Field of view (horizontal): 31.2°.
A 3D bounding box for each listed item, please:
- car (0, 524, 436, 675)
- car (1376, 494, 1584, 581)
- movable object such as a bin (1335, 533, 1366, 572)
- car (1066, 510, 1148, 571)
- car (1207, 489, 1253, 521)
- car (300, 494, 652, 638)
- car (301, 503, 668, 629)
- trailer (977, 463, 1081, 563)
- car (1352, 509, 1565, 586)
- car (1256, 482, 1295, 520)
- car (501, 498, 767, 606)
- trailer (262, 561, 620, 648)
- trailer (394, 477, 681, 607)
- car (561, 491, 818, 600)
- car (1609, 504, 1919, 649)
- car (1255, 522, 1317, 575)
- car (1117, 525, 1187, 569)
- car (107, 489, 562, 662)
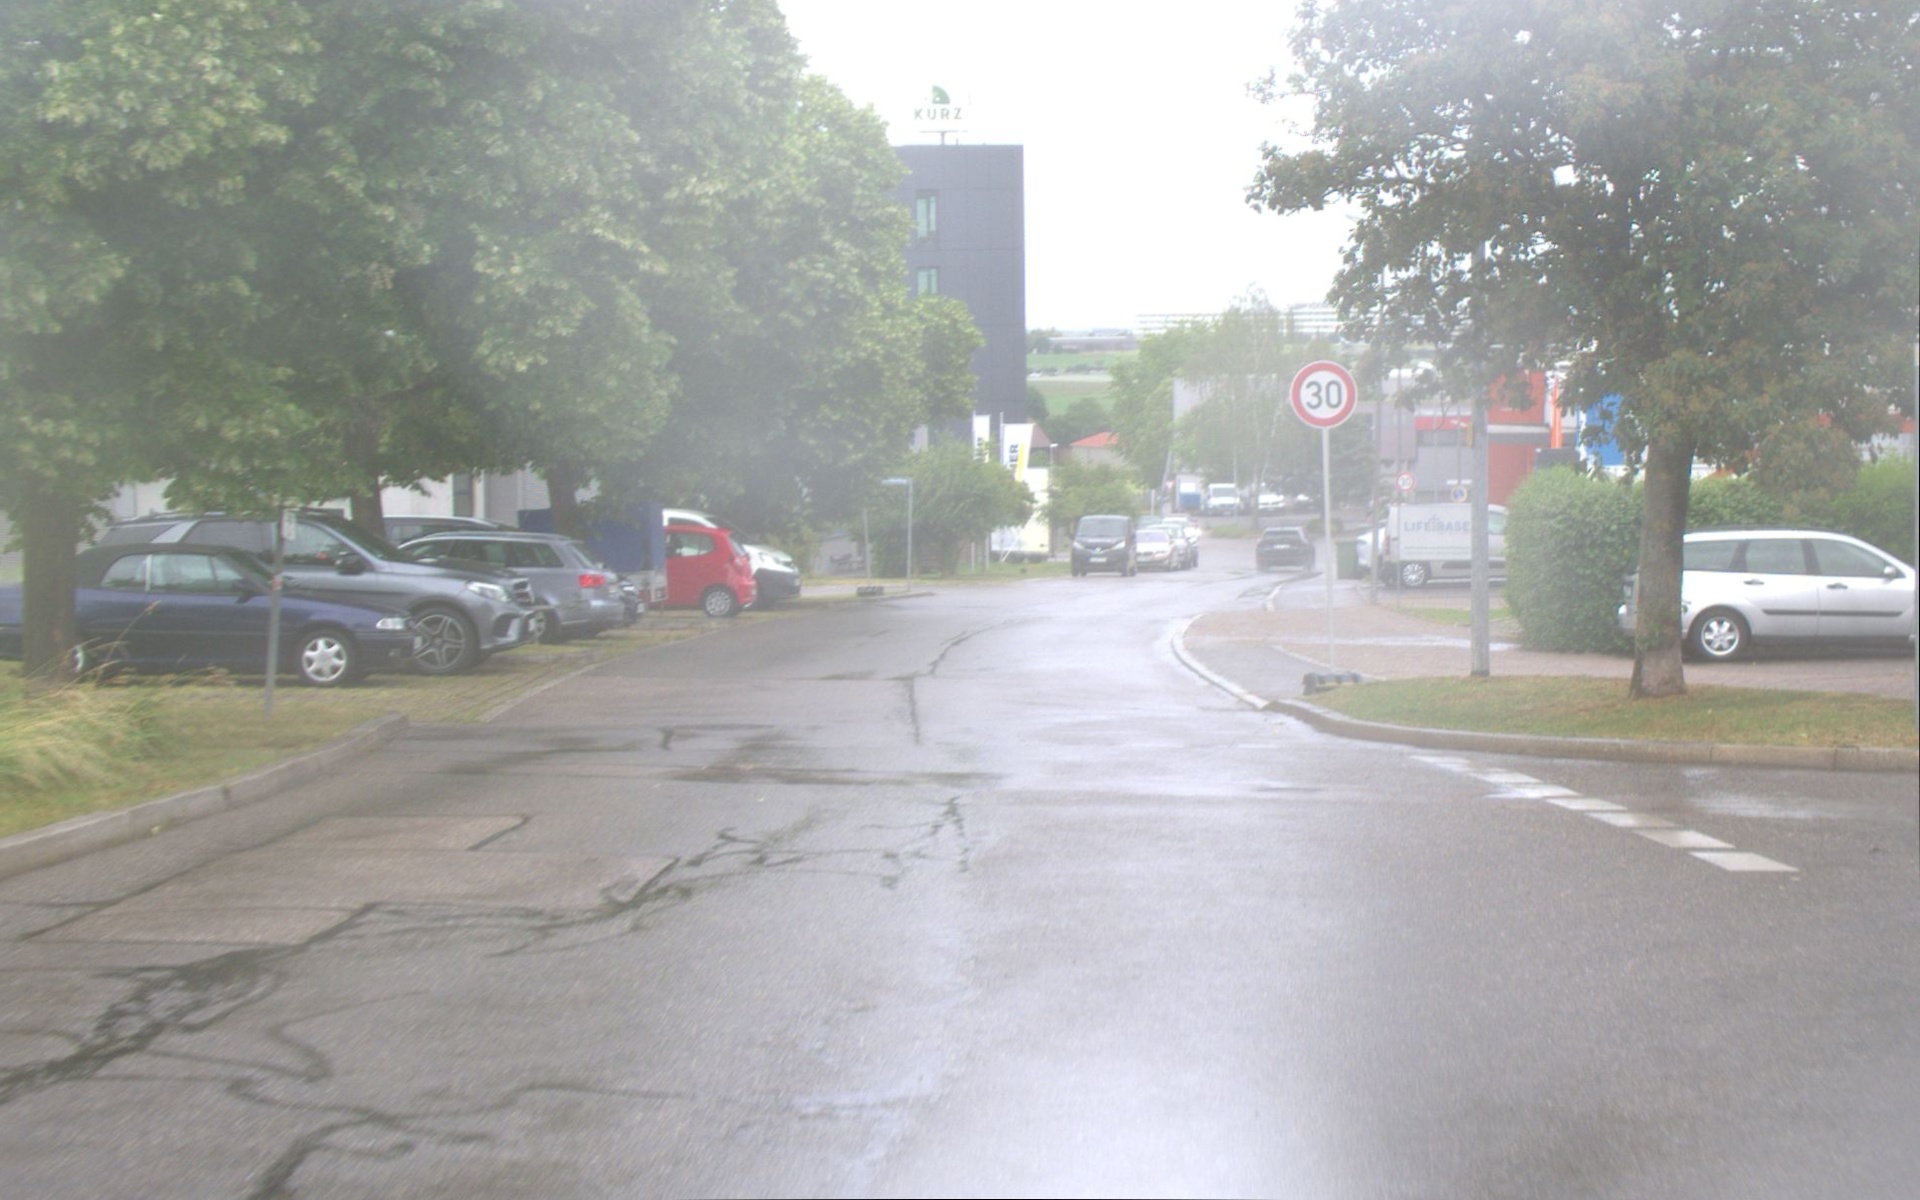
[{"bbox_3d":[-7.329,-0.014,33.568,4.212,1.426,1.774,0,1,-2],"label":"car"},{"bbox_3d":[11.169,-1.355,74.106,4.341,1.767,2.089,-1,1,7],"label":"car"},{"bbox_3d":[10.386,-1.258,91.321,0.772,1.026,0.808,0,1,10],"label":"movable object such as a bin"},{"bbox_3d":[4.476,-1.807,104.104,1.916,1.825,4.846,0,1,9],"label":"car"},{"bbox_3d":[18.081,-6.341,229.999,2.264,2.007,4.001,-1,1,-7],"label":"car"},{"bbox_3d":[-6.191,-0.447,44.253,4.075,1.716,2.025,1,1,7],"label":"car"},{"bbox_3d":[-6.439,-0.469,46.821,4.618,1.584,1.806,1,1,6],"label":"car"},{"bbox_3d":[2.938,-3.738,147.603,2.001,4.188,4.184,-2,1,-44],"label":"trailer"},{"bbox_3d":[11.180,-1.189,77.226,4.598,1.533,2.079,-2,1,8],"label":"car"},{"bbox_3d":[21.116,-6.585,230.003,2.192,2.451,4.000,-1,1,0],"label":"car"},{"bbox_3d":[-5.413,-0.801,57.391,4.196,1.716,1.755,-1,1,3],"label":"car"},{"bbox_3d":[-6.234,0.044,41.584,3.941,0.958,2.000,0,2,4],"label":"trailer"},{"bbox_3d":[-6.691,-0.917,54.644,4.213,1.977,1.774,-1,1,6],"label":"trailer"},{"bbox_3d":[-4.892,-0.982,62.418,4.302,1.899,1.861,-1,1,11],"label":"car"},{"bbox_3d":[9.706,-0.278,39.277,4.313,1.579,1.858,-1,1,5],"label":"car"},{"bbox_3d":[10.696,-1.683,113.021,1.956,1.670,4.472,-1,0,4],"label":"car"},{"bbox_3d":[6.641,-1.832,118.585,1.956,1.456,5.246,-1,1,8],"label":"car"},{"bbox_3d":[-6.524,-0.261,36.220,4.367,1.716,2.044,-1,1,2],"label":"car"}]
